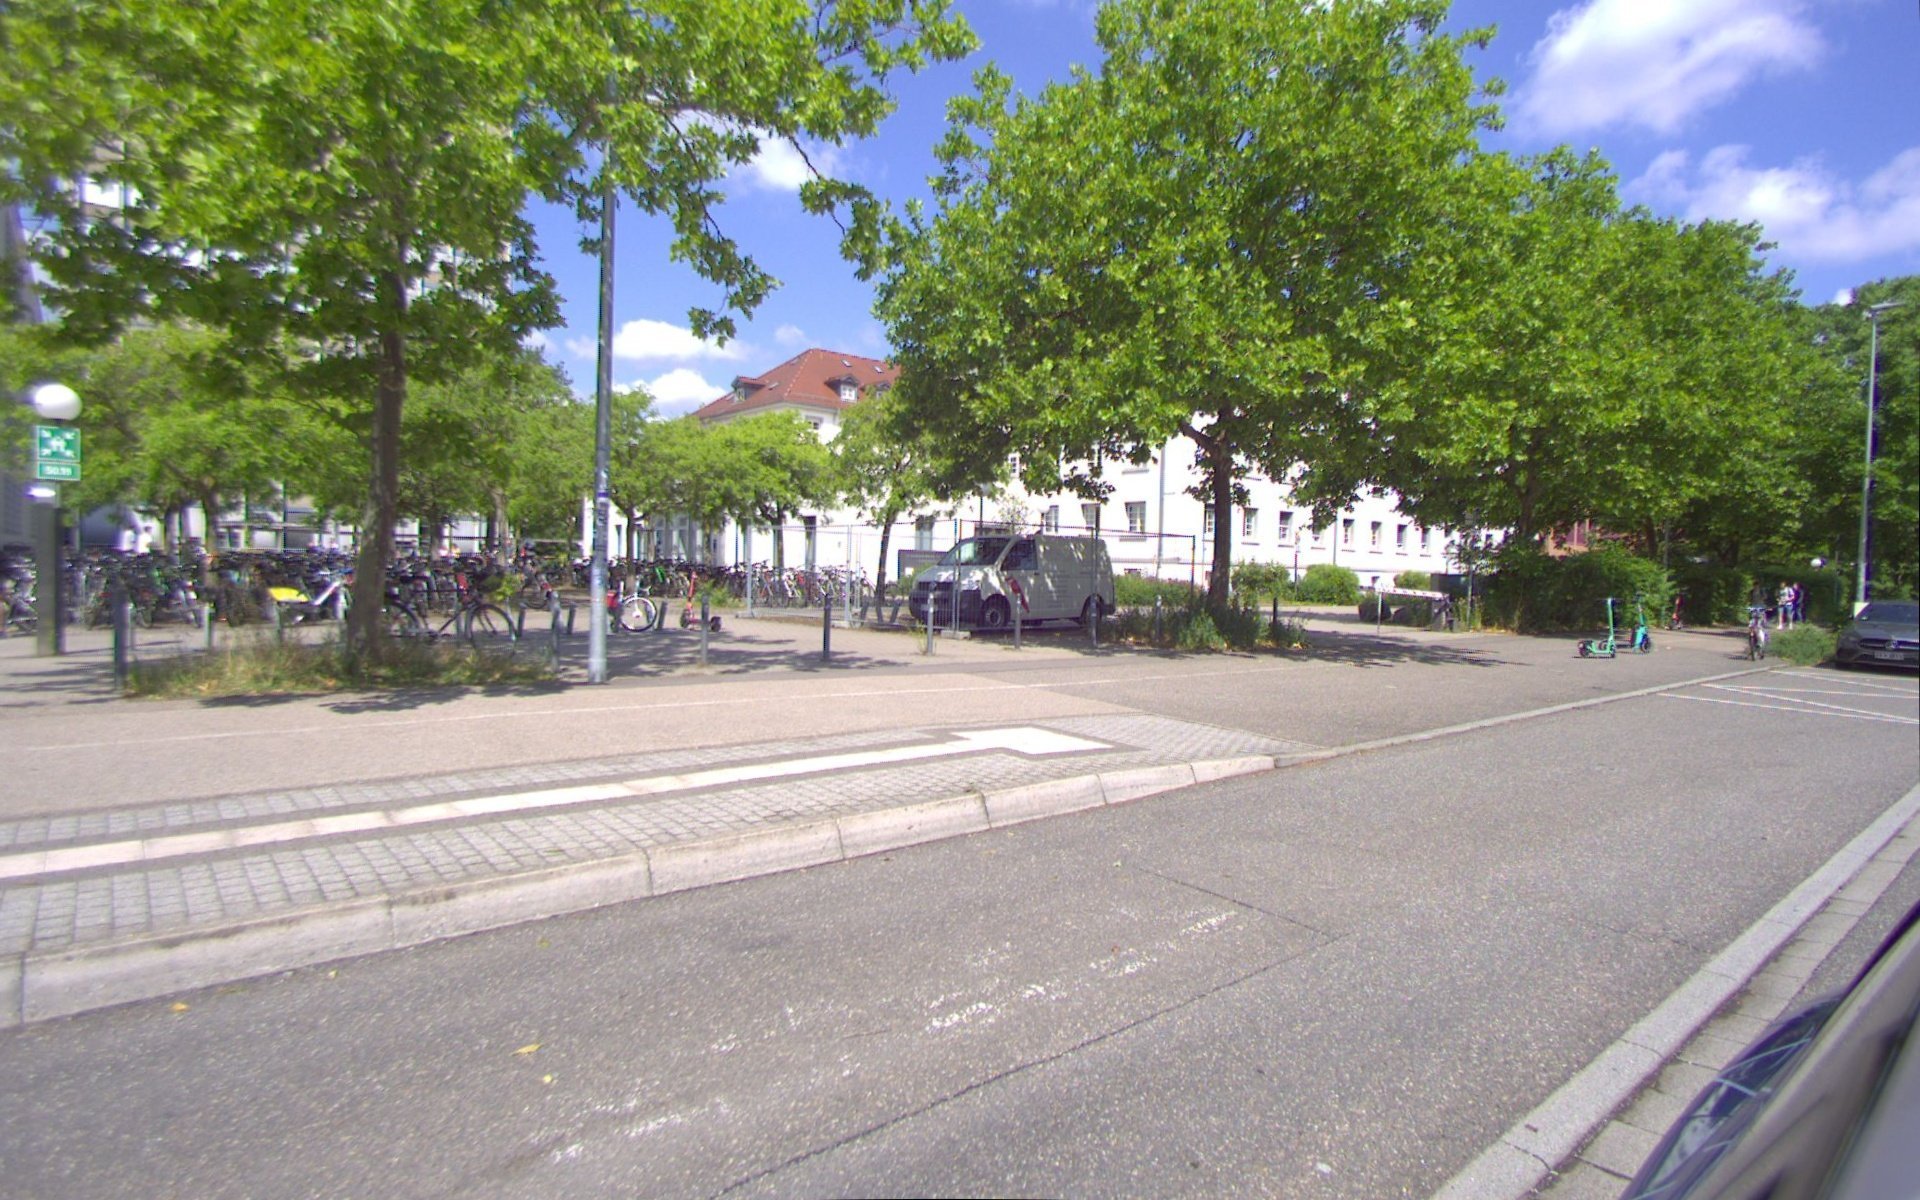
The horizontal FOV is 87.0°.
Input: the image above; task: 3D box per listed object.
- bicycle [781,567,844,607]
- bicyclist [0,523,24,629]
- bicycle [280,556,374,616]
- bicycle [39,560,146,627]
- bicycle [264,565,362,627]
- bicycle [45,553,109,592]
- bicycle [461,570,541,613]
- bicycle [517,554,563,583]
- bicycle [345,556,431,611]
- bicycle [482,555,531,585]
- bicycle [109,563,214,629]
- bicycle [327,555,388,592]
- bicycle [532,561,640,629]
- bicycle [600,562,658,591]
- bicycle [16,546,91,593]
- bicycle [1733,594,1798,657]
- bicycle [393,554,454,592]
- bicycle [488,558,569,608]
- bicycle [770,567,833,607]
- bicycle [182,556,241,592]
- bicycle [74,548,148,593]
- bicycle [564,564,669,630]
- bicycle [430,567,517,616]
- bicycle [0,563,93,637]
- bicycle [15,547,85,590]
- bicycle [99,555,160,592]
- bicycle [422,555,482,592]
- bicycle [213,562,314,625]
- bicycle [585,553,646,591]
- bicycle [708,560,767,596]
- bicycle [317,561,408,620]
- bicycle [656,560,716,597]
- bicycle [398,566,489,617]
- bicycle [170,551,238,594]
[{"bbox_3d":[-4.238,-0.372,29.077,1.744,1.113,0.589,0,0,19],"label":"bicycle"},{"bbox_3d":[-14.656,-0.367,15.148,0.917,1.583,0.662,0,2,-42],"label":"bicyclist"},{"bbox_3d":[-12.466,-0.281,19.924,1.745,1.112,0.600,2,1,19],"label":"bicycle"},{"bbox_3d":[-14.776,-0.115,17.241,1.745,1.113,0.600,0,0,19],"label":"bicycle"},{"bbox_3d":[-12.259,-0.082,19.169,1.745,1.112,0.600,2,1,19],"label":"bicycle"},{"bbox_3d":[-25.548,-0.779,29.271,1.744,1.113,0.600,0,0,19],"label":"bicycle"},{"bbox_3d":[-10.120,-0.201,22.324,1.745,0.879,0.481,2,1,19],"label":"bicycle"},{"bbox_3d":[-16.576,-1.240,39.948,1.744,1.113,0.600,0,0,19],"label":"bicycle"},{"bbox_3d":[-12.314,-0.357,21.795,1.745,1.112,0.600,2,1,19],"label":"bicycle"},{"bbox_3d":[-17.163,-1.129,38.287,1.744,1.113,0.600,0,0,19],"label":"bicycle"},{"bbox_3d":[-13.943,-0.078,17.664,1.745,1.113,0.600,0,0,19],"label":"bicycle"},{"bbox_3d":[-18.069,-0.790,30.346,1.744,1.113,0.600,0,0,19],"label":"bicycle"},{"bbox_3d":[-6.310,-0.085,17.066,1.745,1.113,0.600,0,0,19],"label":"bicycle"},{"bbox_3d":[-10.395,-0.739,31.789,1.744,0.880,0.600,0,0,19],"label":"bicycle"},{"bbox_3d":[-22.136,-0.729,24.711,1.744,1.113,0.600,0,0,19],"label":"bicycle"},{"bbox_3d":[16.707,0.515,20.978,2.082,1.205,0.639,1,3,-42],"label":"bicycle"},{"bbox_3d":[-16.180,-0.810,30.520,1.744,1.113,0.600,0,0,19],"label":"bicycle"},{"bbox_3d":[-9.751,-0.380,22.862,1.745,1.113,0.600,0,0,19],"label":"bicycle"},{"bbox_3d":[-4.466,-0.365,28.506,1.744,1.113,0.513,0,0,19],"label":"bicycle"},{"bbox_3d":[-23.529,-0.810,31.804,1.744,1.113,0.600,0,0,19],"label":"bicycle"},{"bbox_3d":[-21.338,-0.729,25.430,1.744,1.113,0.600,0,0,19],"label":"bicycle"},{"bbox_3d":[-6.004,-0.060,17.694,1.745,1.113,0.600,0,0,19],"label":"bicycle"},{"bbox_3d":[-10.369,-0.197,21.560,1.745,0.966,0.600,2,1,19],"label":"bicycle"},{"bbox_3d":[-14.571,-0.006,15.324,2.119,1.092,0.901,-2,2,-44],"label":"bicycle"},{"bbox_3d":[-23.873,-0.818,26.547,1.744,1.113,0.600,0,0,19],"label":"bicycle"},{"bbox_3d":[-25.166,-0.797,30.670,1.744,1.113,0.600,0,0,19],"label":"bicycle"},{"bbox_3d":[-15.691,-0.819,31.261,1.744,1.113,0.600,0,0,19],"label":"bicycle"},{"bbox_3d":[-12.705,-0.130,18.456,1.745,1.113,0.600,0,0,19],"label":"bicycle"},{"bbox_3d":[-10.490,-0.843,30.827,1.744,1.113,0.600,0,0,19],"label":"bicycle"},{"bbox_3d":[-6.982,-0.697,31.783,1.744,1.113,0.600,0,0,19],"label":"bicycle"},{"bbox_3d":[-12.170,-0.200,20.602,1.745,1.112,0.600,2,1,19],"label":"bicycle"},{"bbox_3d":[-8.416,-0.663,31.072,1.744,1.113,0.600,0,0,19],"label":"bicycle"},{"bbox_3d":[-10.617,-0.188,20.798,1.745,0.966,0.600,2,1,19],"label":"bicycle"},{"bbox_3d":[-20.419,-0.735,27.323,1.744,1.113,0.600,0,0,19],"label":"bicycle"}]
